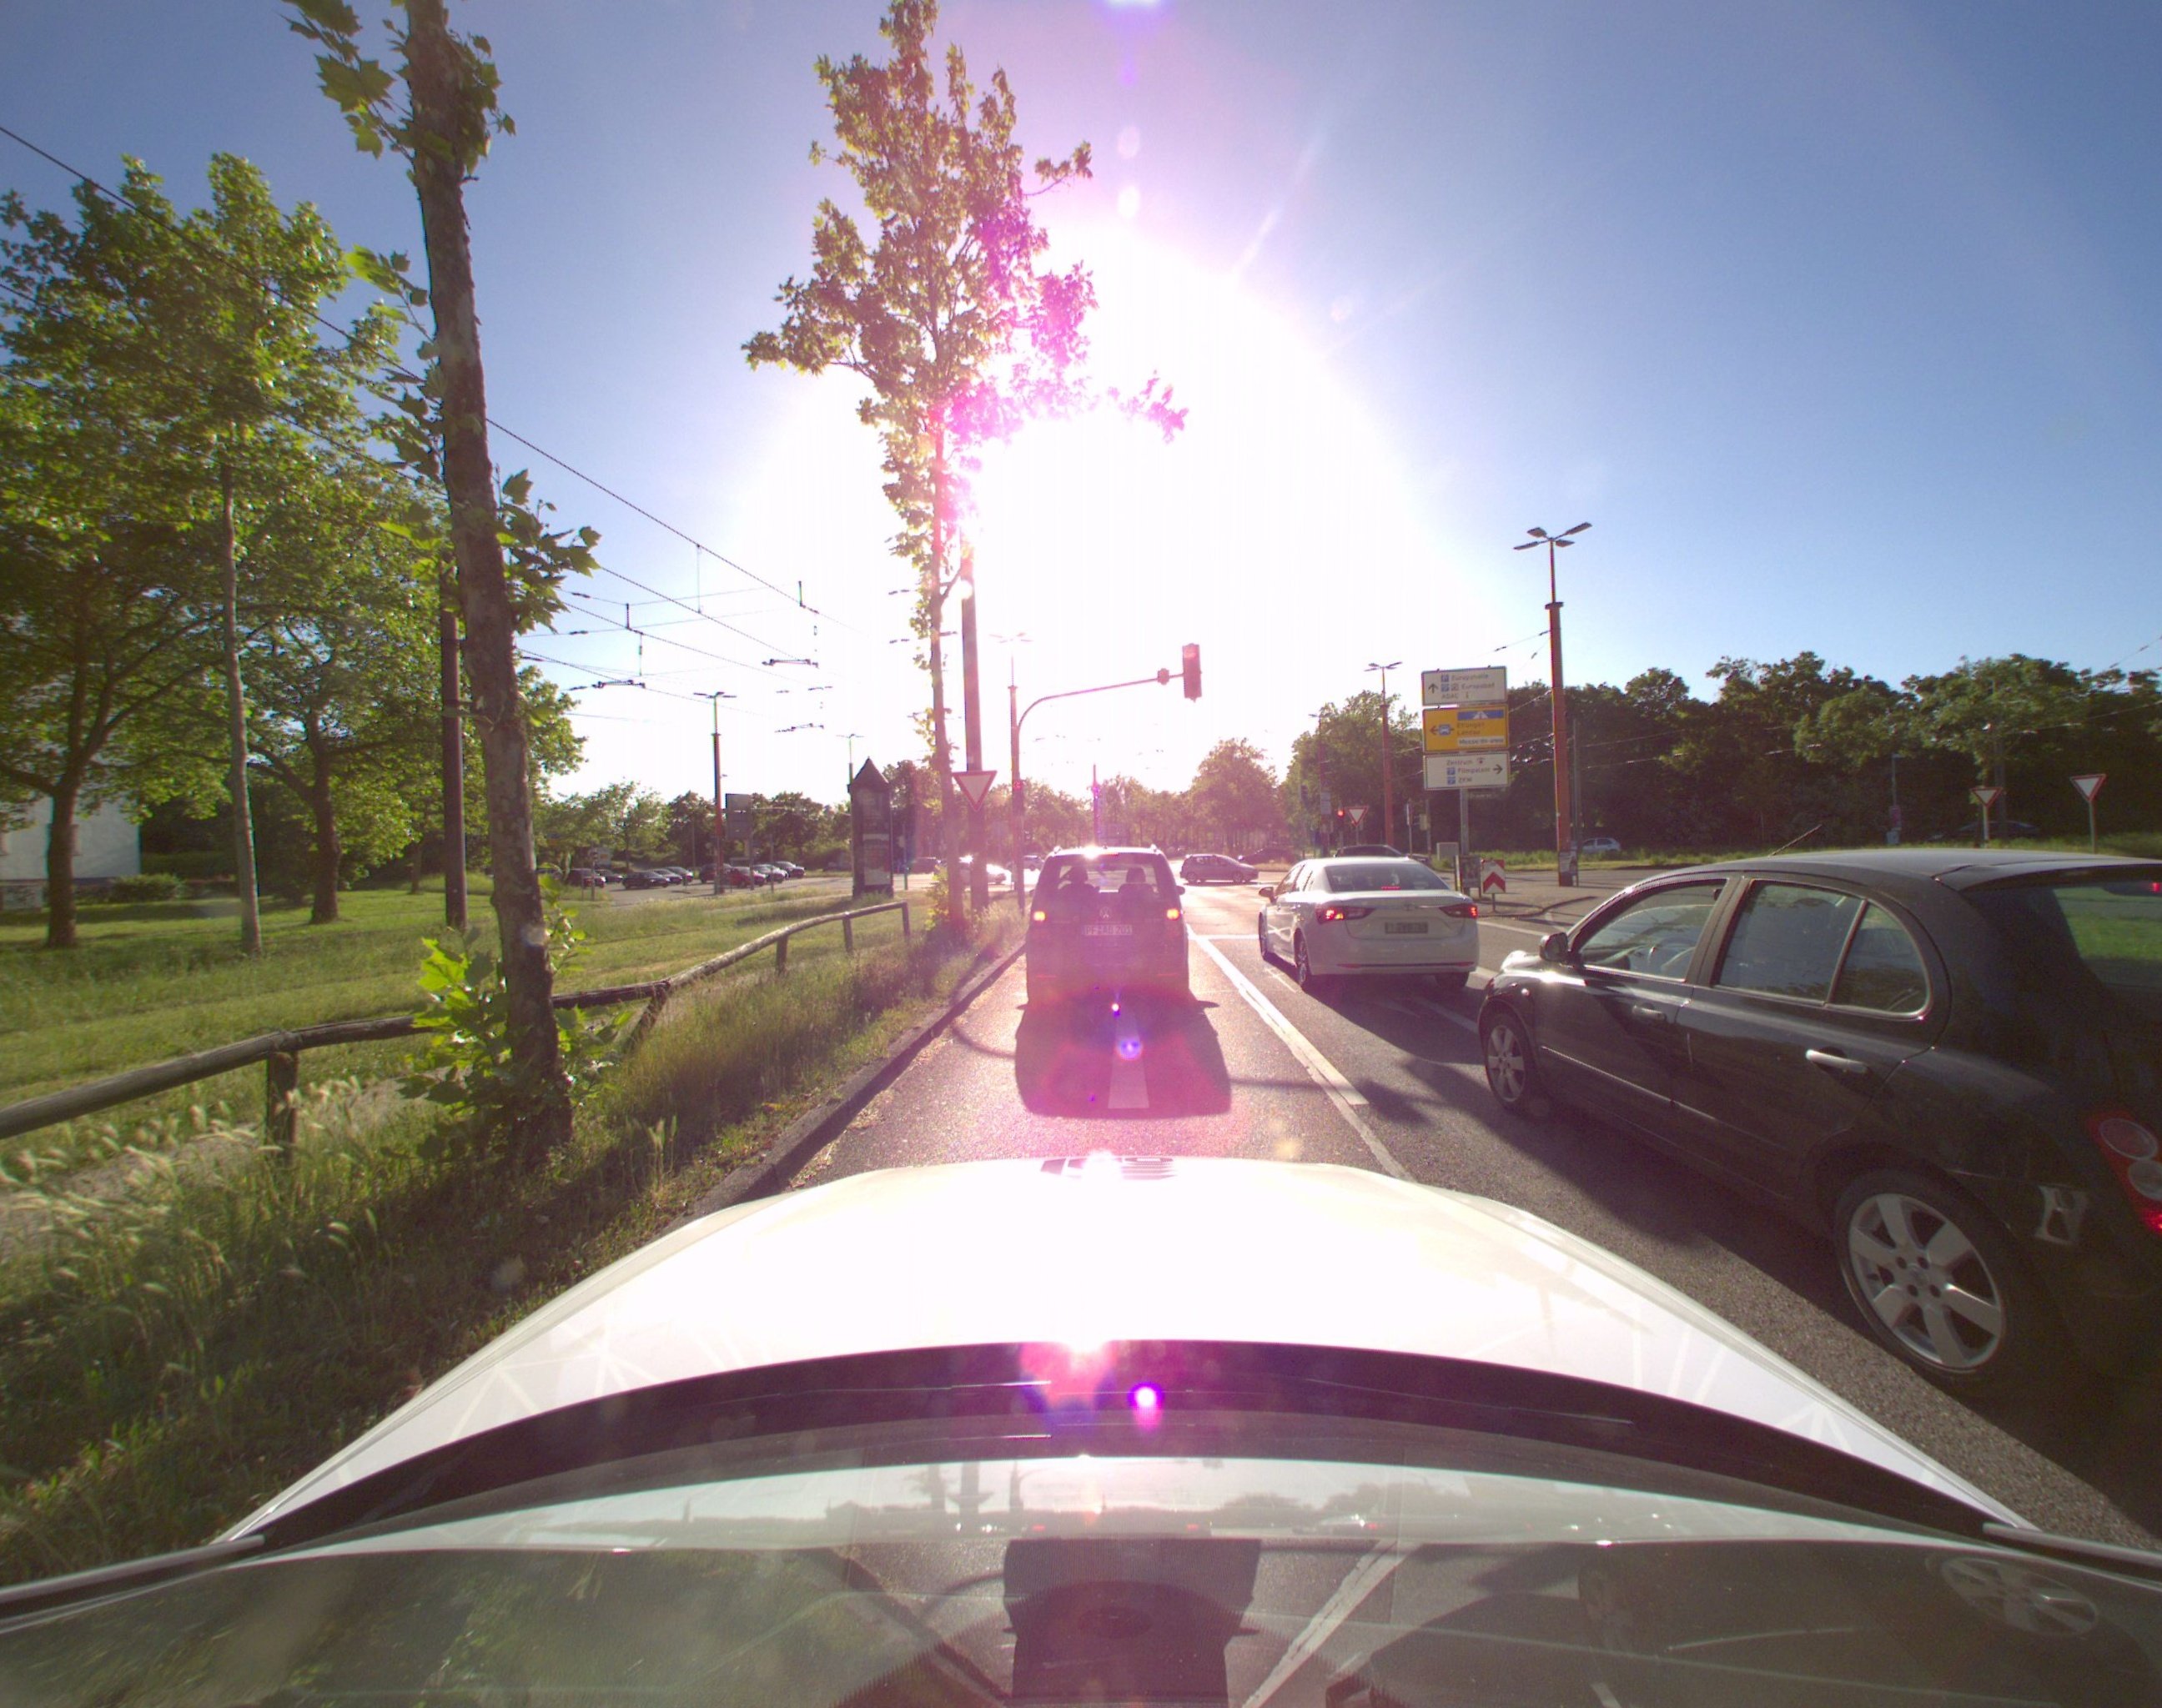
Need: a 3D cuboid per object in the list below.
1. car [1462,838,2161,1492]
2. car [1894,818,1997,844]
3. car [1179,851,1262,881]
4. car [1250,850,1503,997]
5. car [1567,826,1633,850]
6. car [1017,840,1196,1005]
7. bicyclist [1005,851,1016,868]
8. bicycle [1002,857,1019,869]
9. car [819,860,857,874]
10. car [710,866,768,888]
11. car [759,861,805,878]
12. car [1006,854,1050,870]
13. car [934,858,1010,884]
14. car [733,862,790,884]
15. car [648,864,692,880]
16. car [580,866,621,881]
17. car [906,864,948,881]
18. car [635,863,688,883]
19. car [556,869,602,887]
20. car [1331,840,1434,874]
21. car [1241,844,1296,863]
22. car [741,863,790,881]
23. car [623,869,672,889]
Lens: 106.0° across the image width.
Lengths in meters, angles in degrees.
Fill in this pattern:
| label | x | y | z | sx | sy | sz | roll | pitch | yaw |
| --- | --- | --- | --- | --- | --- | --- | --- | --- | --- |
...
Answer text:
| label | x | y | z | sx | sy | sz | roll | pitch | yaw |
| --- | --- | --- | --- | --- | --- | --- | --- | --- | --- |
| car | 3.171 | 0.693 | 3.505 | 1.570 | 1.440 | 3.443 | 0 | -1 | 2 |
| car | 50.426 | -1.318 | 47.566 | 3.758 | 1.403 | 1.665 | -1 | 0 | 22 |
| car | 7.142 | 0.630 | 41.688 | 3.793 | 1.441 | 1.667 | -1 | 0 | 29 |
| car | 3.364 | 0.707 | 10.203 | 1.792 | 1.440 | 4.329 | 0 | 0 | 3 |
| car | 35.733 | -1.085 | 56.159 | 3.755 | 1.510 | 1.667 | -1 | 0 | 30 |
| car | 0.357 | 0.687 | 10.098 | 1.731 | 1.602 | 4.329 | 0 | -1 | 3 |
| bicyclist | -8.242 | 0.666 | 94.907 | 0.969 | 1.904 | 1.055 | -2 | 0 | 14 |
| bicycle | -8.242 | 1.038 | 94.864 | 0.969 | 1.388 | 2.991 | -2 | 0 | 15 |
| car | -27.026 | 1.421 | 90.567 | 3.877 | 1.457 | 1.667 | -1 | 0 | 28 |
| car | -25.214 | 1.671 | 60.080 | 4.146 | 1.520 | 1.667 | -1 | 0 | 28 |
| car | -26.742 | 1.380 | 72.825 | 4.102 | 1.415 | 1.553 | -1 | 0 | 28 |
| car | -5.160 | 0.816 | 79.198 | 3.877 | 1.457 | 1.667 | -1 | 0 | 28 |
| car | -6.675 | 1.034 | 49.726 | 4.577 | 1.520 | 1.667 | -1 | 0 | 32 |
| car | -25.532 | 1.517 | 65.007 | 4.583 | 1.647 | 1.767 | -1 | 0 | 32 |
| car | -38.209 | 1.667 | 75.719 | 4.102 | 1.415 | 1.553 | -1 | 0 | 28 |
| car | -47.770 | 1.951 | 80.991 | 4.102 | 1.415 | 1.553 | -1 | 0 | 28 |
| car | -14.939 | 1.779 | 78.941 | 3.757 | 1.510 | 1.666 | -1 | 0 | 25 |
| car | -37.054 | 1.664 | 71.867 | 4.585 | 1.647 | 1.767 | -1 | 0 | 26 |
| car | -43.969 | 2.112 | 71.303 | 4.145 | 1.520 | 1.667 | -1 | 0 | 32 |
| car | 15.173 | 0.177 | 41.087 | 4.583 | 1.647 | 1.667 | -1 | 0 | 32 |
| car | 15.477 | -0.018 | 67.290 | 4.095 | 1.510 | 1.667 | -1 | 0 | 30 |
| car | -26.845 | 1.522 | 69.201 | 4.102 | 1.415 | 1.553 | -1 | 0 | 28 |
| car | -35.623 | 2.046 | 66.872 | 4.145 | 1.520 | 1.667 | -1 | 0 | 32 |
